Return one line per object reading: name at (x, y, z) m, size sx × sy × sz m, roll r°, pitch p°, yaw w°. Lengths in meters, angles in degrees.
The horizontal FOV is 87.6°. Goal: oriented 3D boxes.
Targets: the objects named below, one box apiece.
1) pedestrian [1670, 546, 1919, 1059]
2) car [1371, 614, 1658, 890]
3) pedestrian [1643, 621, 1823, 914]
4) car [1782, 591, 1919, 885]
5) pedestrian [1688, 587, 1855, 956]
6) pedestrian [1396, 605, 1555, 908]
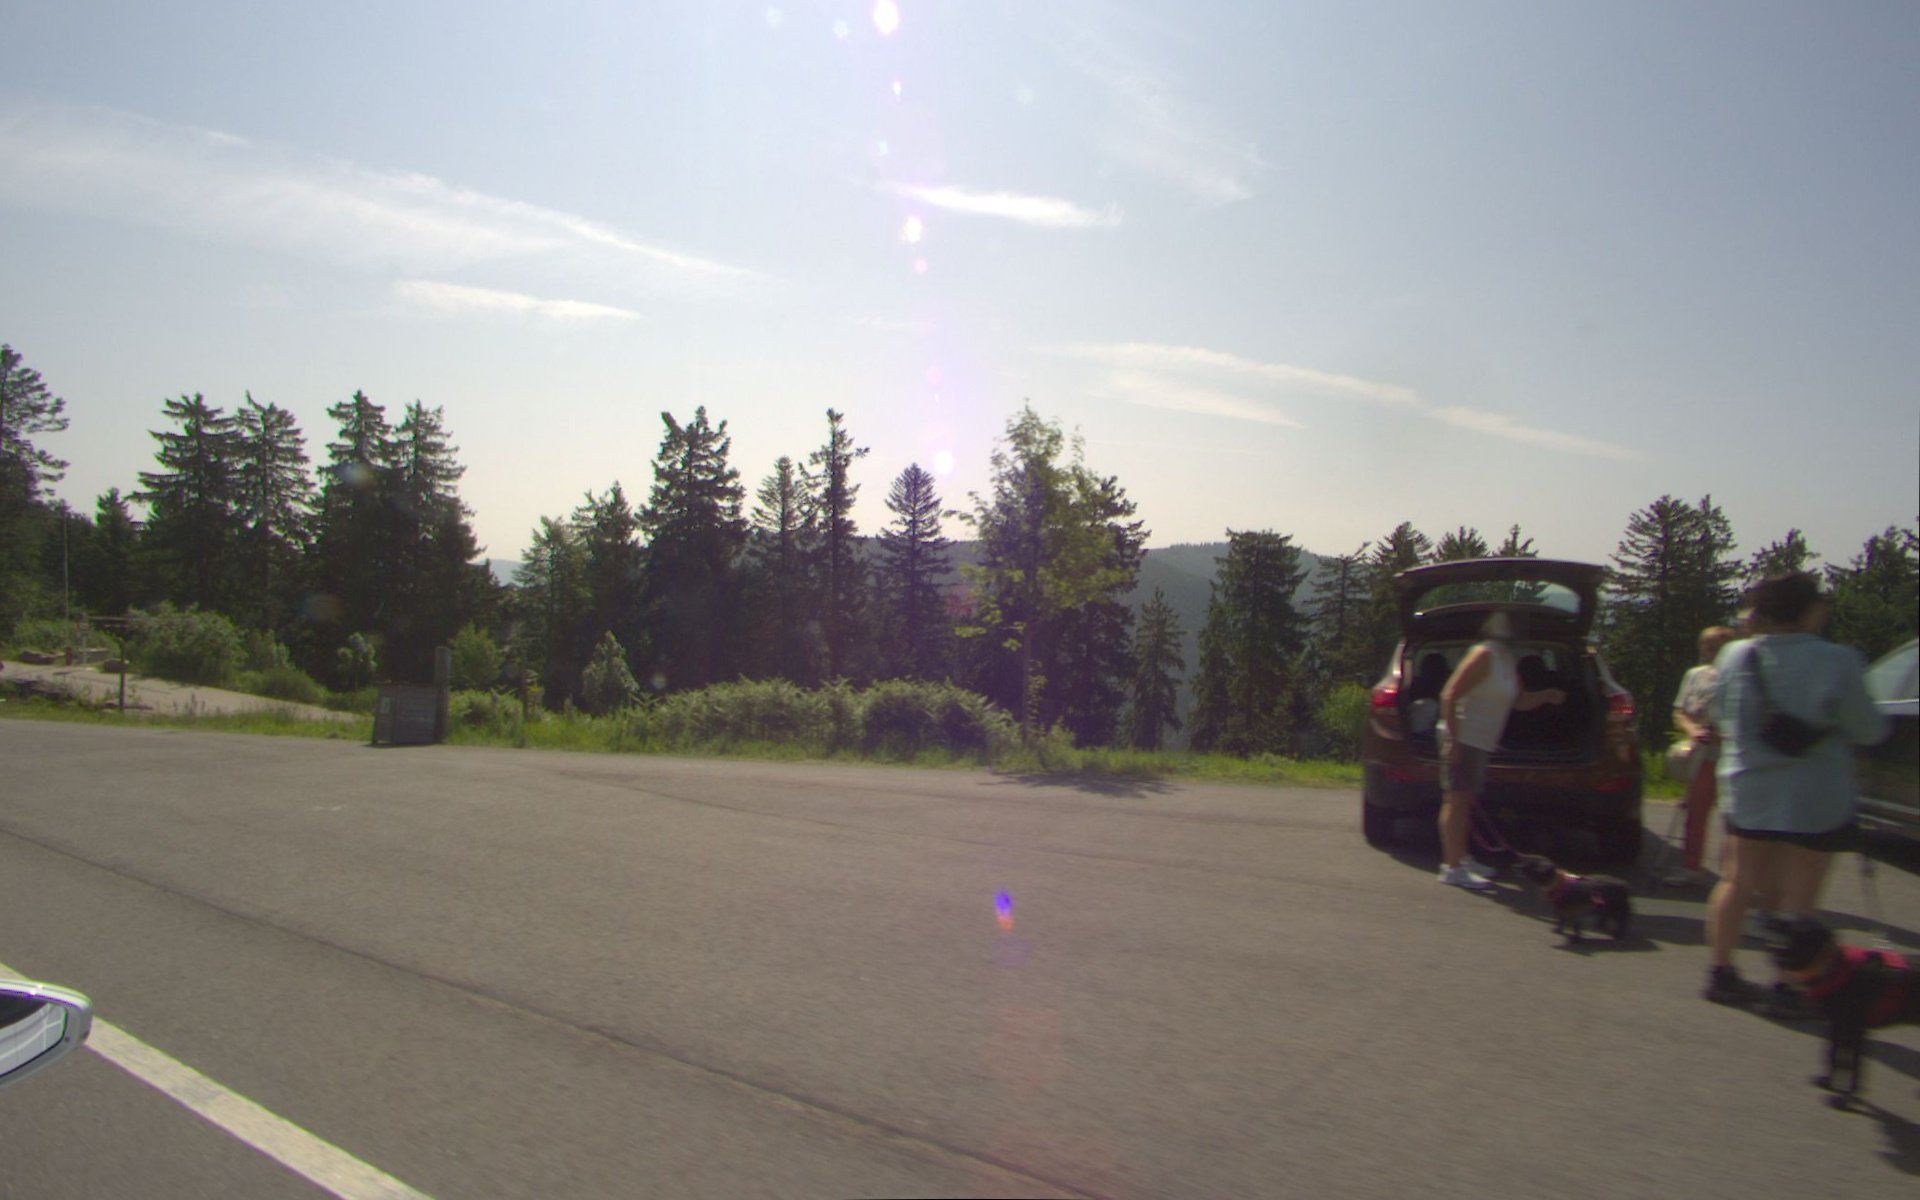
pedestrian at (3.259, 0.722, 3.975) m, size 0.714 × 1.798 × 0.615 m, roll 0°, pitch -1°, yaw 35°
car at (4.293, 1.040, 8.237) m, size 1.625 × 1.681 × 3.821 m, roll 0°, pitch -3°, yaw 23°
pedestrian at (4.656, 0.943, 6.042) m, size 0.612 × 1.609 × 0.728 m, roll 0°, pitch 2°, yaw -42°
car at (7.094, 0.881, 6.422) m, size 1.862 × 1.817 × 4.264 m, roll 1°, pitch -1°, yaw 26°
pedestrian at (4.119, 0.810, 5.131) m, size 0.610 × 1.714 × 0.714 m, roll 0°, pitch -1°, yaw 35°
pedestrian at (3.122, 0.878, 6.064) m, size 0.679 × 1.683 × 0.649 m, roll 2°, pitch 2°, yaw 41°
